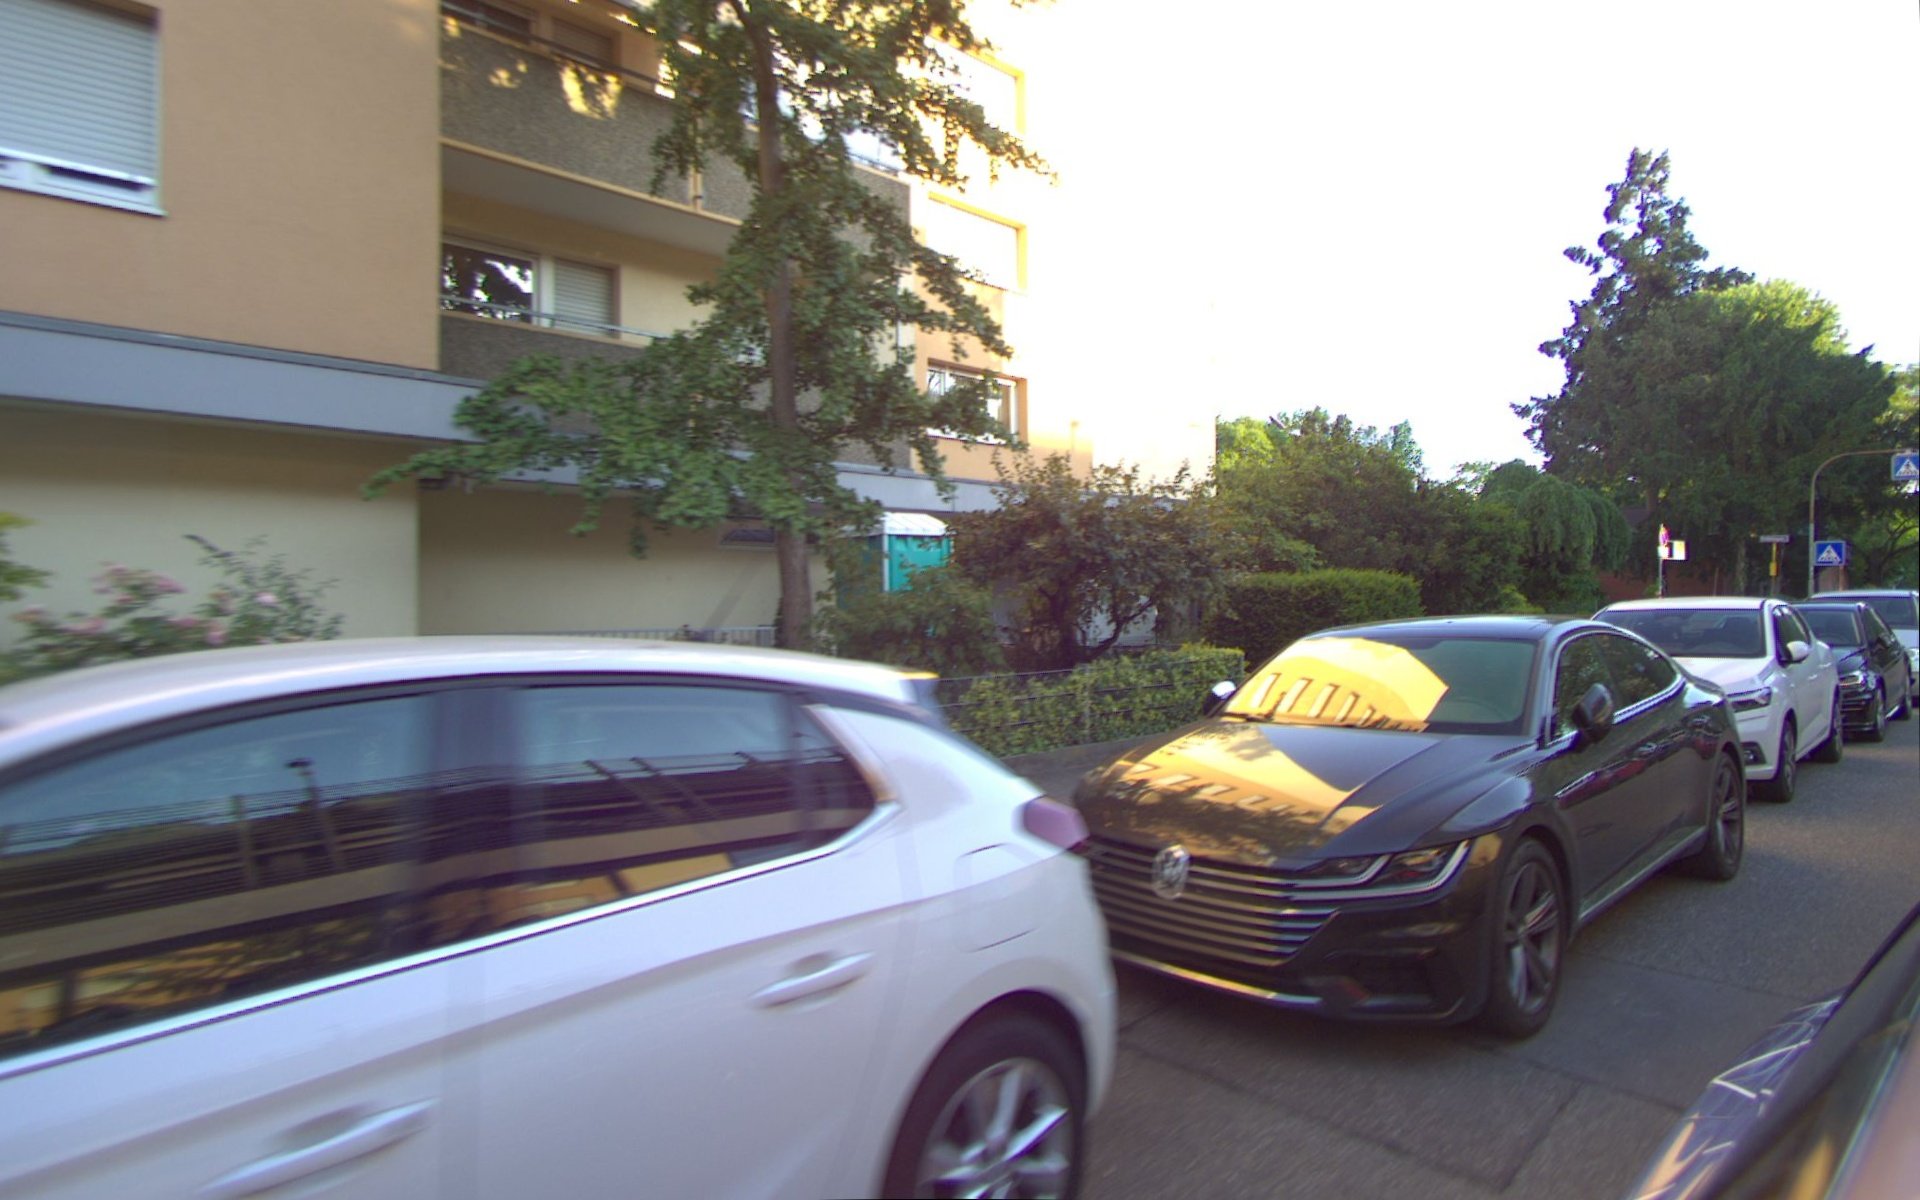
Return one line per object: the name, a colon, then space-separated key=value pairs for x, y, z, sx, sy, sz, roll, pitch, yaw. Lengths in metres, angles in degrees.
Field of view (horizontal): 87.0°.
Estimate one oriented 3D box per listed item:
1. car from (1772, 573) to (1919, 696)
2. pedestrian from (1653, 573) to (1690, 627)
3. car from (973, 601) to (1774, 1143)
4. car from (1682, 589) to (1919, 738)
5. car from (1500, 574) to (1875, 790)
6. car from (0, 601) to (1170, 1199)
car: x=13.424 y=0.445 z=14.819 sx=3.818 sy=1.596 sz=1.812 roll=0 pitch=0 yaw=-42
pedestrian: x=24.058 y=-0.020 z=34.235 sx=0.818 sy=1.746 sz=0.853 roll=4 pitch=3 yaw=30
car: x=2.334 y=0.724 z=4.899 sx=4.546 sy=1.435 sz=1.812 roll=0 pitch=0 yaw=-42
car: x=9.892 y=0.612 z=11.695 sx=3.958 sy=1.437 sz=1.719 roll=0 pitch=0 yaw=-42
car: x=6.347 y=0.545 z=8.679 sx=3.828 sy=1.435 sz=1.812 roll=0 pitch=0 yaw=-41
car: x=-1.500 y=0.743 z=1.715 sx=3.984 sy=1.480 sz=1.612 roll=0 pitch=0 yaw=-42
